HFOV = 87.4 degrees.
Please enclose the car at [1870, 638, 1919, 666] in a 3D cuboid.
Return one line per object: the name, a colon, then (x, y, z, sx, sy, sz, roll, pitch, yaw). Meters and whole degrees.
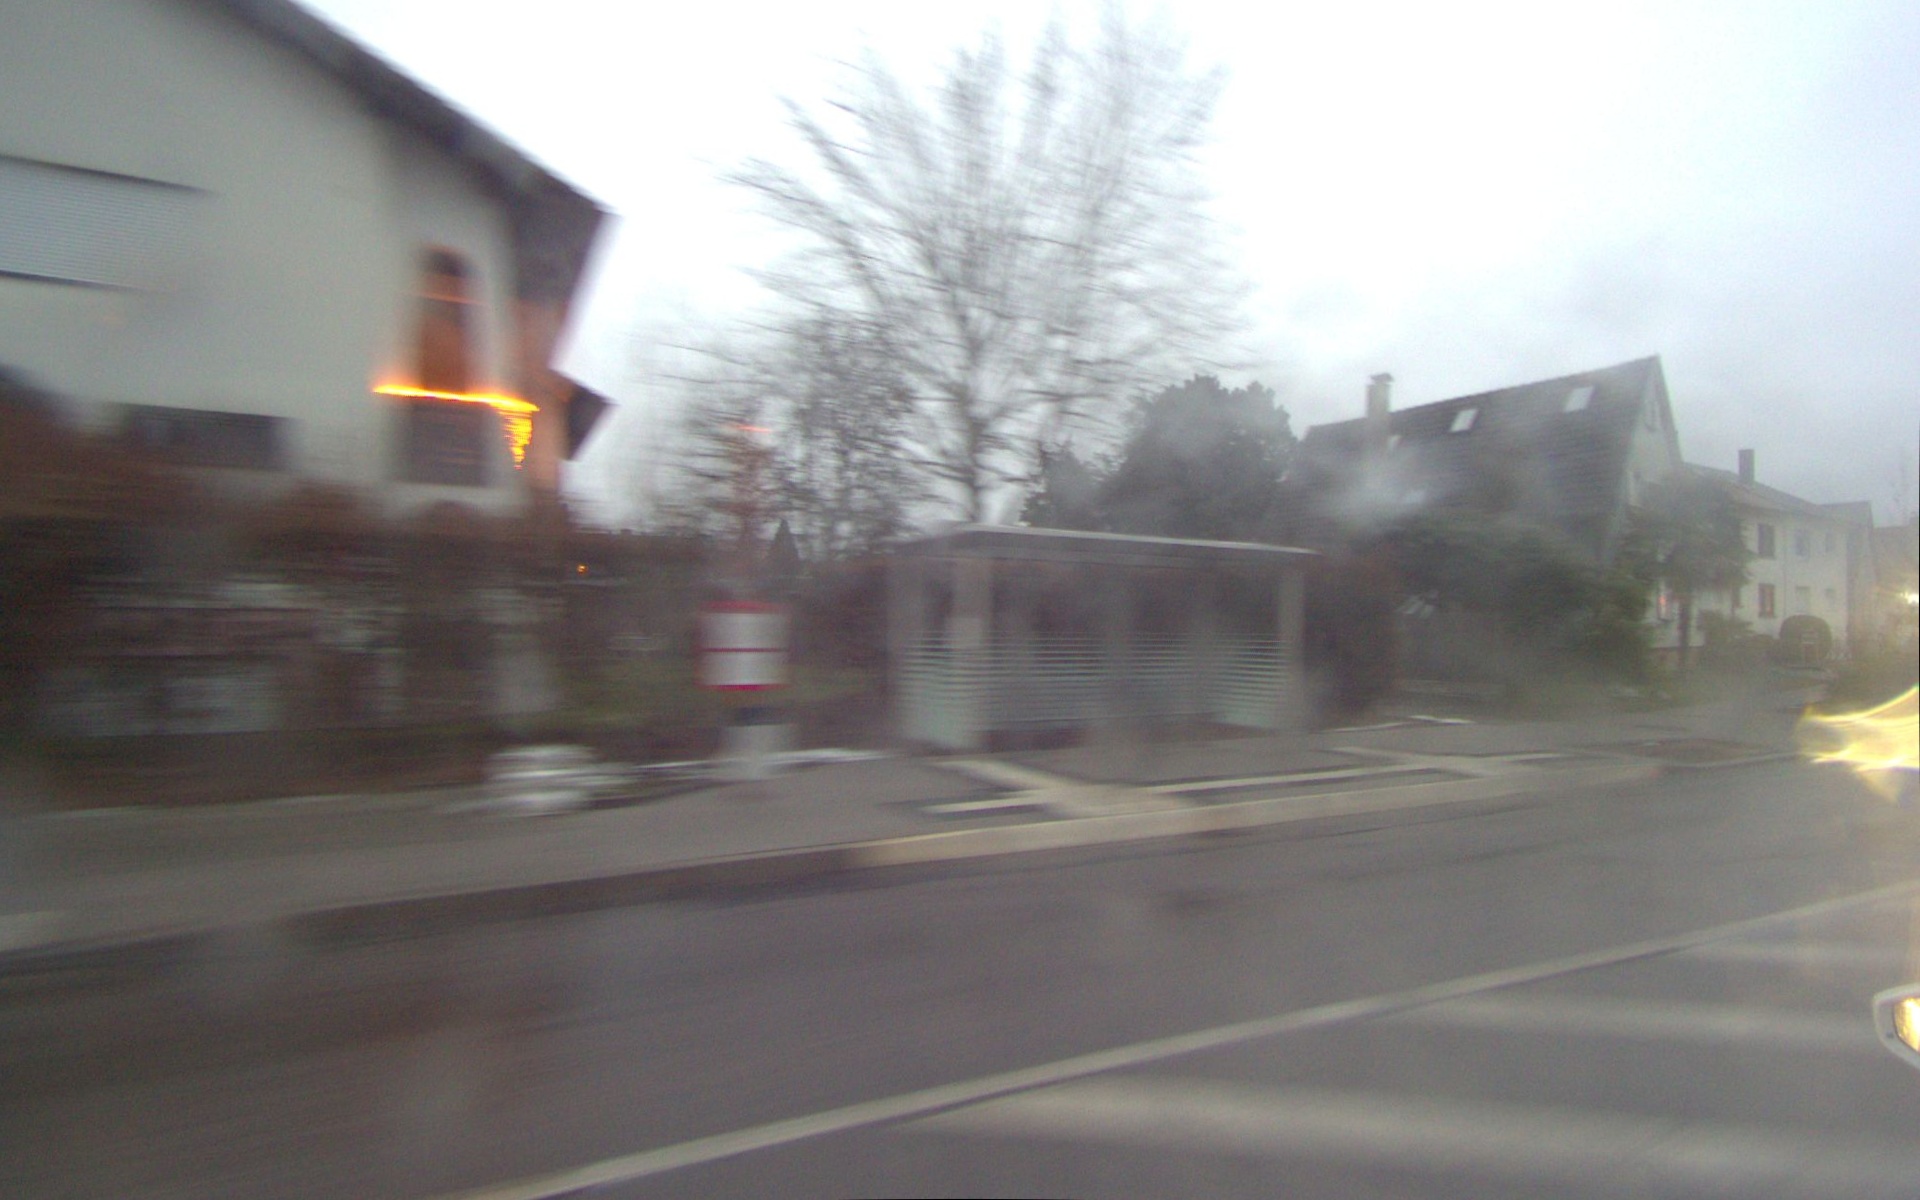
car: (51.698, 2.839, 55.614, 1.756, 1.411, 3.981, 2, -1, 40)
